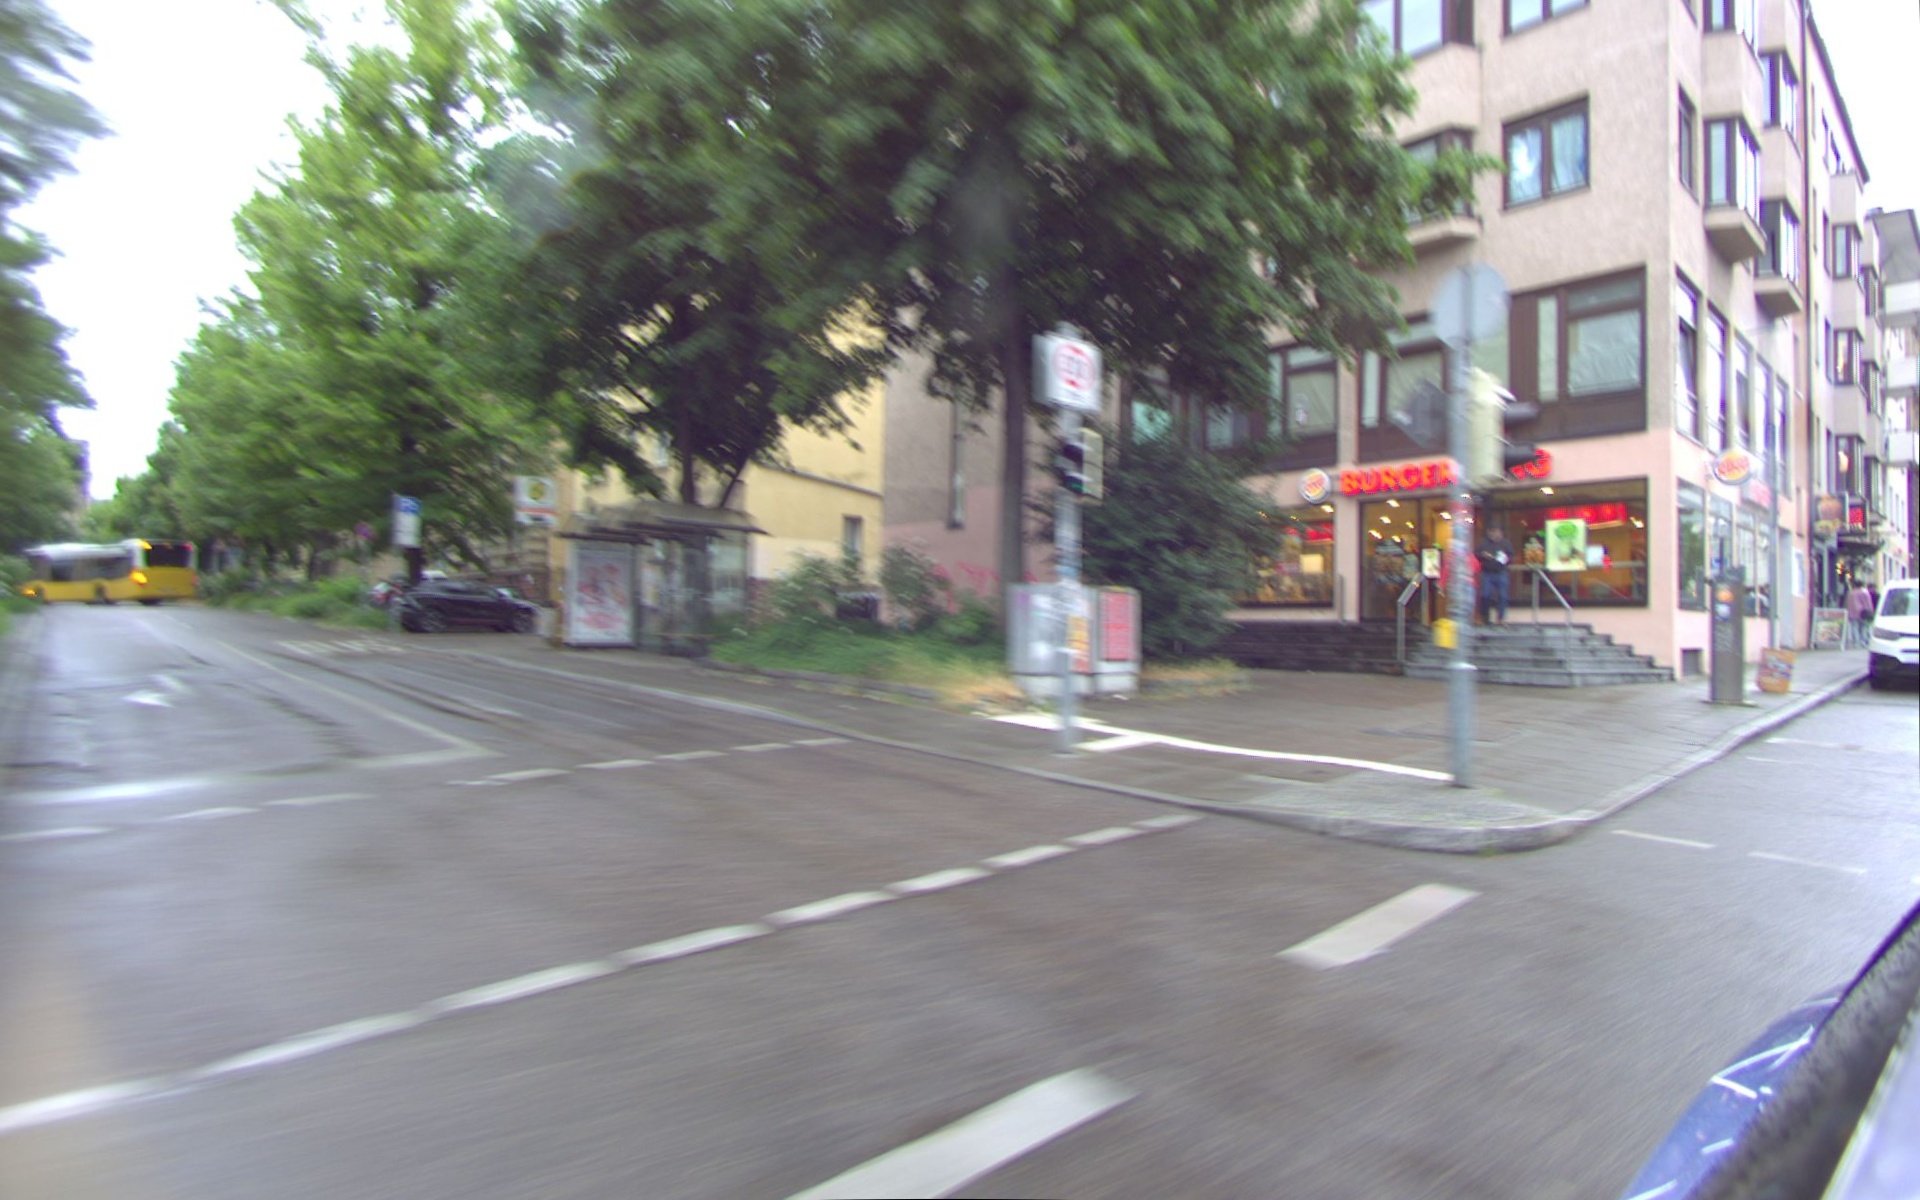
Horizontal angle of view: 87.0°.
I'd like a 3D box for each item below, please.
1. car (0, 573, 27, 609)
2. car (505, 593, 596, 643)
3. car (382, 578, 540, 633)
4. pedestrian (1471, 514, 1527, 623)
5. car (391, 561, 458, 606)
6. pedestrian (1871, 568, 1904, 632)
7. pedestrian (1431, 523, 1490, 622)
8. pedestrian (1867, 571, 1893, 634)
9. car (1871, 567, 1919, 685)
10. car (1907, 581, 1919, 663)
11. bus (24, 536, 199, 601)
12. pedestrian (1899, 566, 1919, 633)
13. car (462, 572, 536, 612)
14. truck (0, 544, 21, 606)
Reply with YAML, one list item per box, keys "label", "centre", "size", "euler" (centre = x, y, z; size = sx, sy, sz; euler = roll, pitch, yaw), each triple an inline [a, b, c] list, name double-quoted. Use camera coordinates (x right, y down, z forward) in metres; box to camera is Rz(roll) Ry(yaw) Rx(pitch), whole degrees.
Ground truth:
- label: "car"
  centre: [-42.165, -0.370, 42.879]
  size: [3.800, 1.497, 1.702]
  euler: [-1, 3, -41]
- label: "car"
  centre: [-13.293, 0.538, 32.778]
  size: [1.644, 1.474, 3.668]
  euler: [-1, 1, -41]
- label: "car"
  centre: [-14.405, 0.119, 29.325]
  size: [3.807, 1.479, 1.675]
  euler: [0, 1, -44]
- label: "pedestrian"
  centre: [9.264, -0.536, 17.407]
  size: [0.585, 1.842, 0.668]
  euler: [0, 1, -2]
- label: "car"
  centre: [-25.191, -0.786, 47.528]
  size: [1.820, 2.020, 5.402]
  euler: [0, 1, -38]
- label: "pedestrian"
  centre: [25.761, -0.006, 28.121]
  size: [0.571, 1.735, 0.611]
  euler: [0, 1, -41]
- label: "pedestrian"
  centre: [8.592, -0.470, 17.395]
  size: [0.613, 1.670, 0.726]
  euler: [0, 1, -2]
- label: "pedestrian"
  centre: [27.711, 0.061, 30.484]
  size: [0.528, 1.882, 0.549]
  euler: [1, 1, 40]
- label: "car"
  centre: [16.838, 0.382, 17.093]
  size: [4.699, 1.829, 1.907]
  euler: [-1, 1, -45]
- label: "car"
  centre: [21.340, 0.422, 21.166]
  size: [4.338, 1.636, 1.909]
  euler: [-1, 1, -42]
- label: "bus"
  centre: [-42.832, -1.570, 50.988]
  size: [10.397, 3.056, 2.829]
  euler: [1, 1, 26]
- label: "pedestrian"
  centre: [26.711, -0.015, 28.180]
  size: [0.578, 1.842, 0.757]
  euler: [0, 1, -41]
- label: "car"
  centre: [-18.019, -0.343, 39.479]
  size: [1.644, 1.474, 3.668]
  euler: [-1, 1, -41]
- label: "truck"
  centre: [-38.266, -0.916, 36.838]
  size: [5.983, 2.306, 2.260]
  euler: [-1, 1, -44]
